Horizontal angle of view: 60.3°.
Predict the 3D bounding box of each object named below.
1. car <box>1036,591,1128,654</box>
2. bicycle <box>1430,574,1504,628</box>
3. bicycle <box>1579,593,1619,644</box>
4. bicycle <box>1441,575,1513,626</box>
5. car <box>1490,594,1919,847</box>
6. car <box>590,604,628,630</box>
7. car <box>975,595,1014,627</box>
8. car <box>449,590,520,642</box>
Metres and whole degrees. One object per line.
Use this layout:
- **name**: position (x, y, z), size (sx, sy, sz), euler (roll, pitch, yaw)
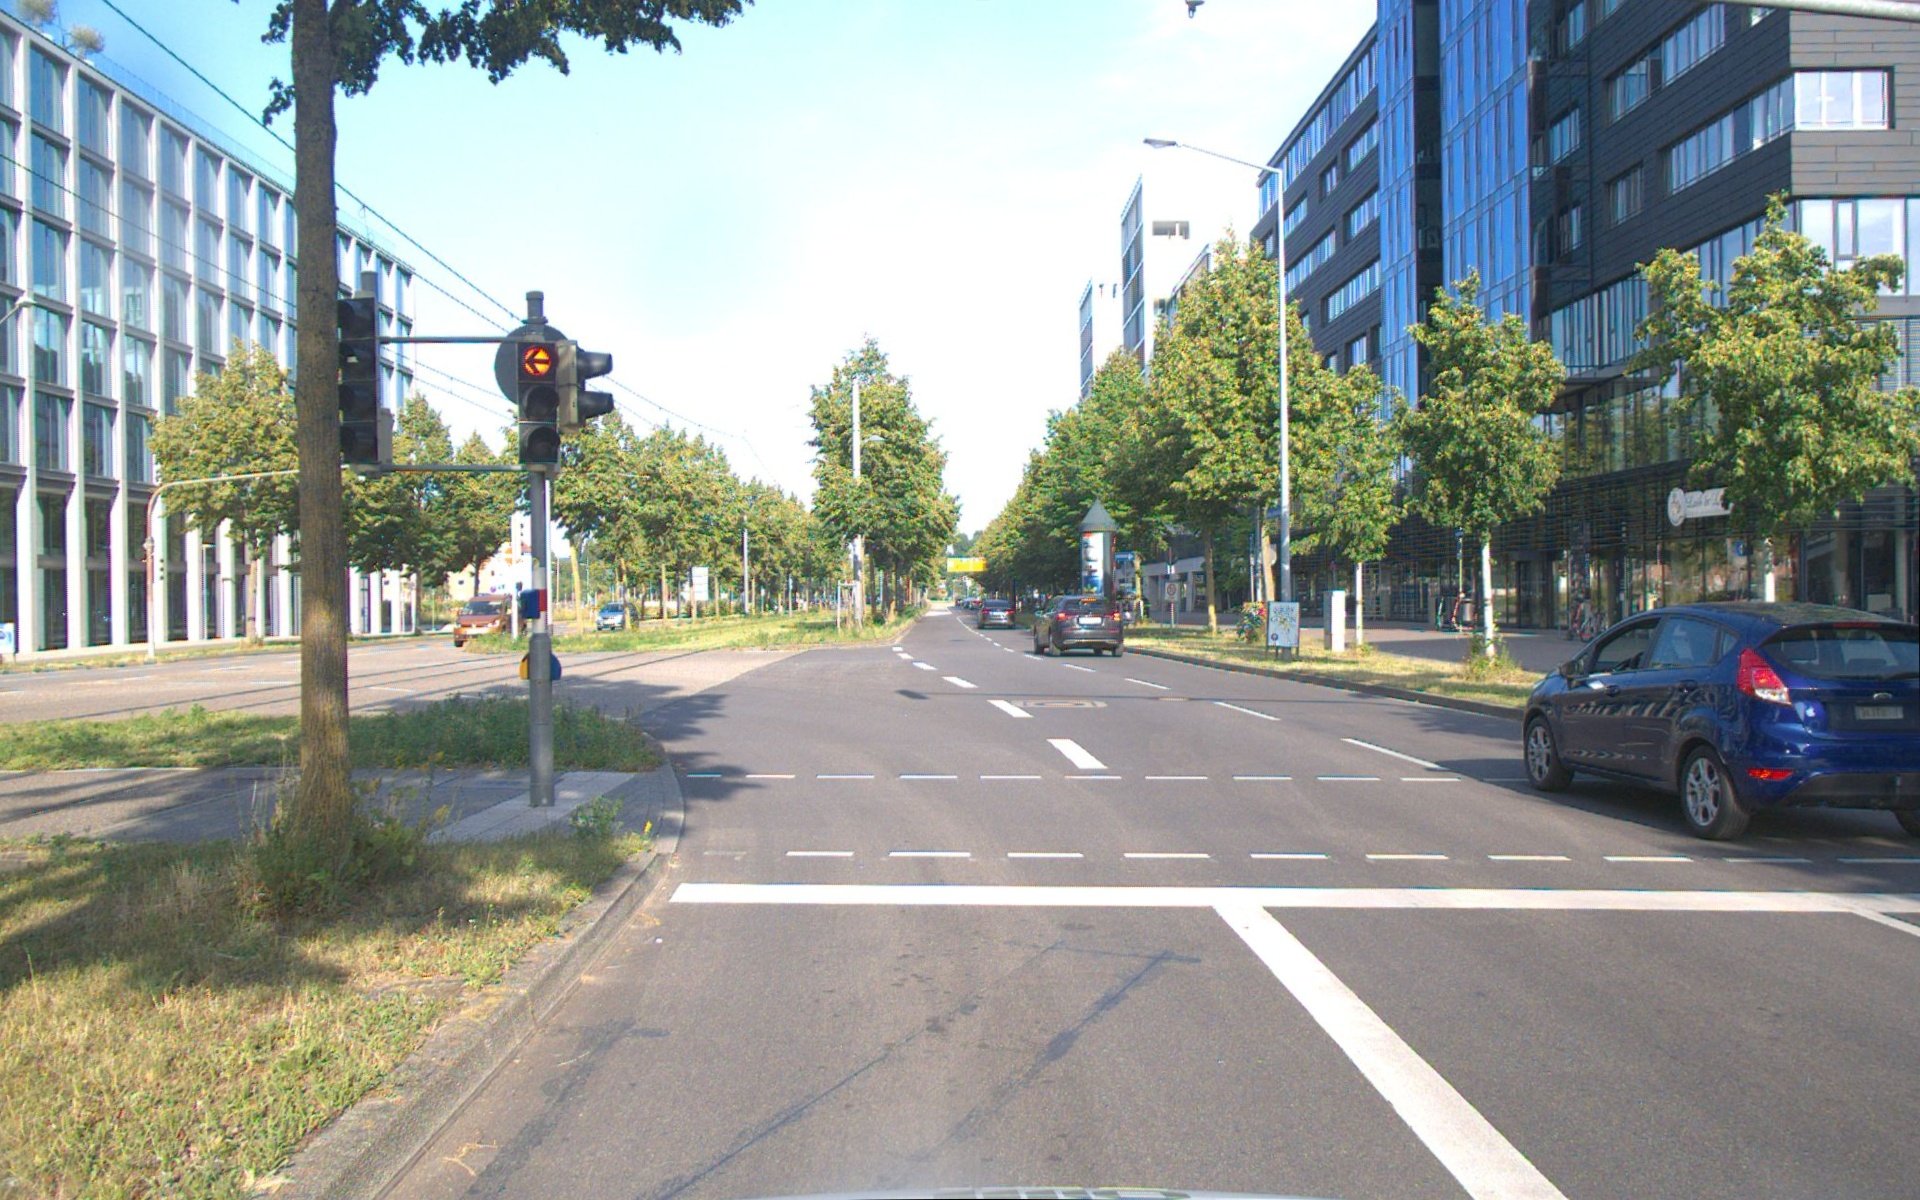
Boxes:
- **car**: position (2.946, 0.525, 40.614), size (1.739, 1.449, 3.958), euler (1, 0, -3)
- **bicycle**: position (18.323, 0.033, 59.816), size (2.510, 1.890, 0.570), euler (1, -1, 9)
- **bicycle**: position (17.650, 0.507, 45.724), size (0.365, 1.370, 1.894), euler (1, -1, 0)
- **bicycle**: position (18.353, 0.019, 58.745), size (2.383, 1.776, 0.554), euler (1, -1, 9)
- **car**: position (5.317, 0.707, 11.689), size (1.530, 1.449, 3.902), euler (1, 0, -6)
- **car**: position (-20.515, 0.959, 96.775), size (1.606, 1.468, 3.952), euler (1, 0, -4)
- **car**: position (1.726, 0.557, 83.112), size (1.822, 1.551, 3.785), euler (1, 0, -1)
- **car**: position (-17.046, 0.564, 59.460), size (1.651, 1.806, 3.879), euler (1, 0, -4)
